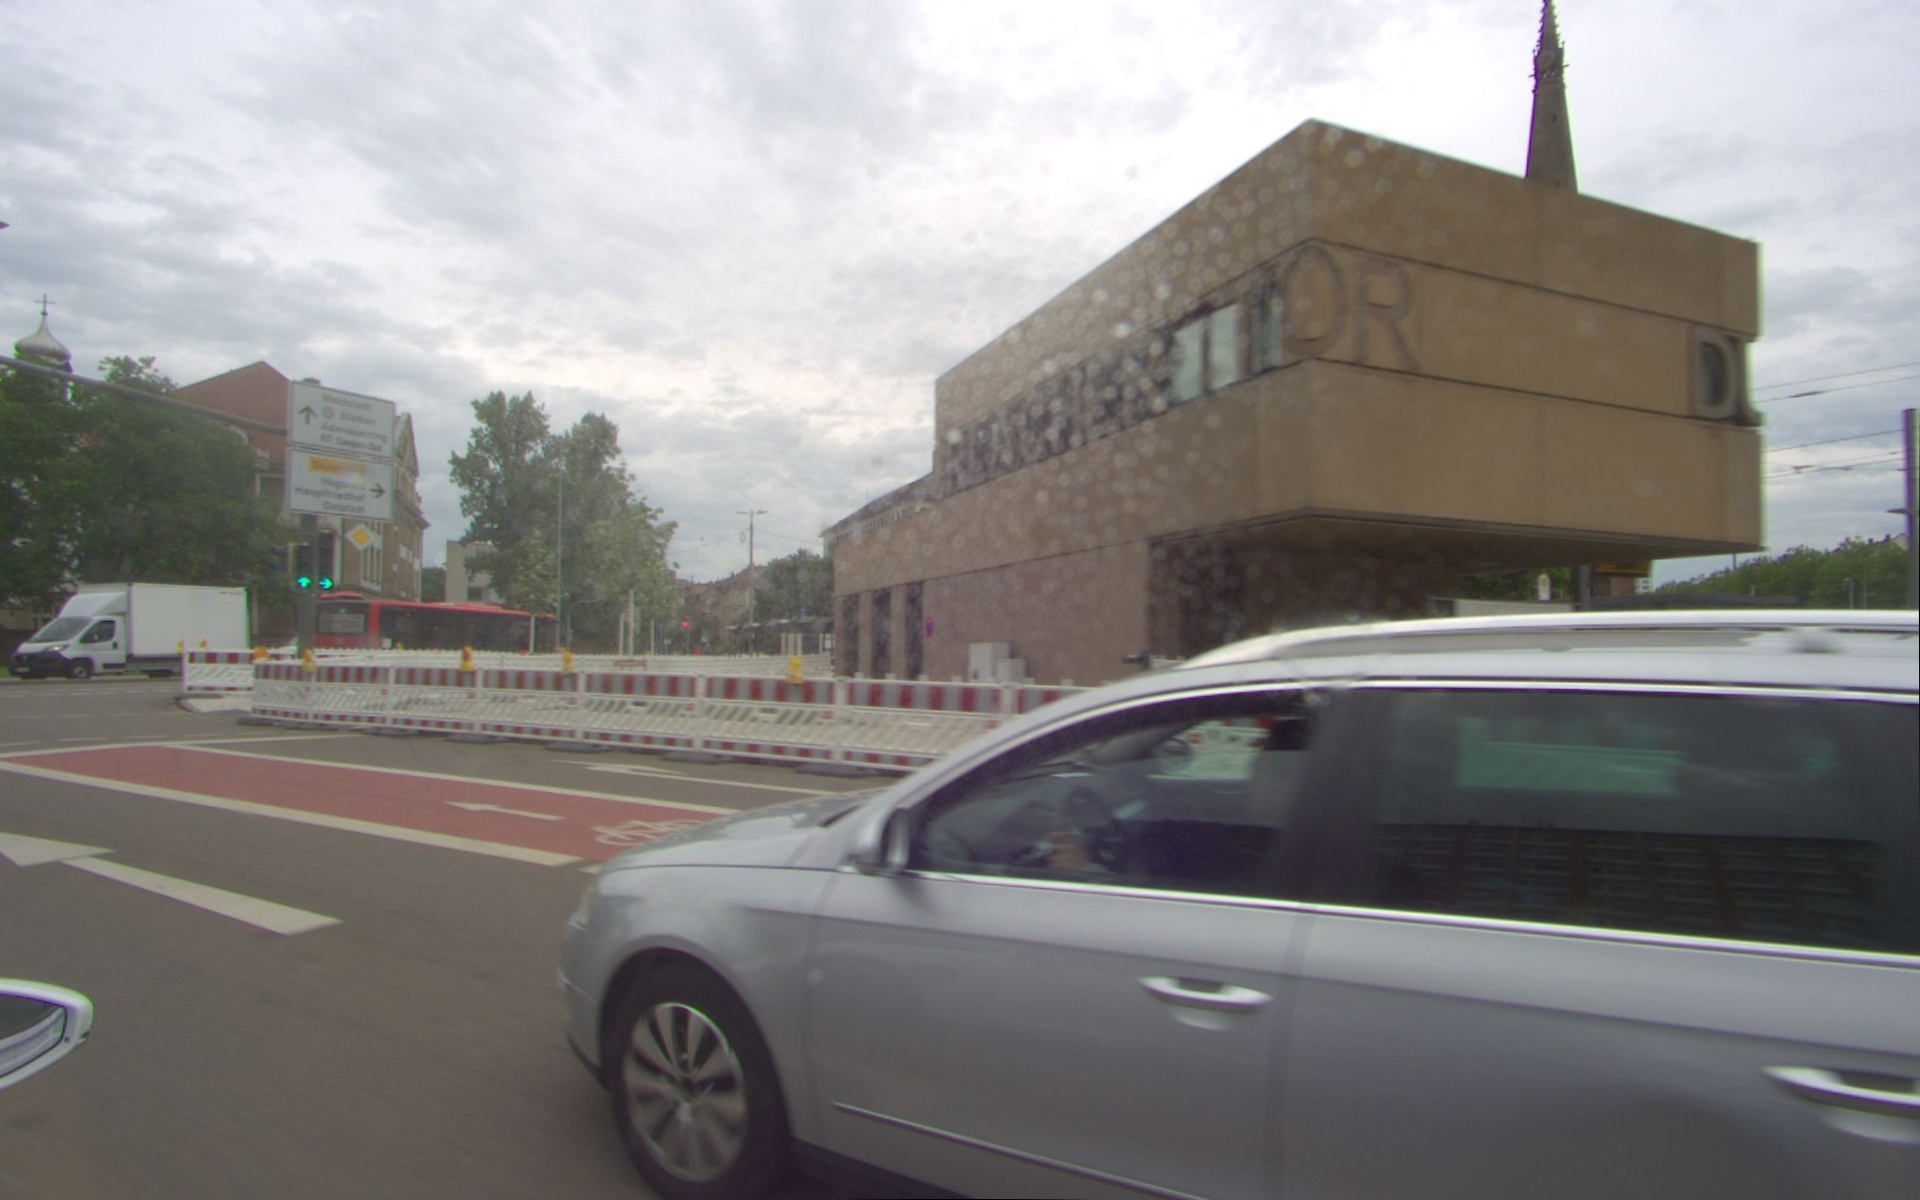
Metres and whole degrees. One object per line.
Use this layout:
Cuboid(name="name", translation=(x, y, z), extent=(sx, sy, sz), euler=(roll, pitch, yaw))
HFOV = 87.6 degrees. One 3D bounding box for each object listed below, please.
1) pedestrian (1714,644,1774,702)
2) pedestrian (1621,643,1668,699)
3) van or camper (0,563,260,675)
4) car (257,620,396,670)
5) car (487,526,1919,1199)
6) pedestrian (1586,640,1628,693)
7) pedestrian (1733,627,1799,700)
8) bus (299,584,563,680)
Cuboid(name="pedestrian", translation=(23.185, 2.142, 29.634), extent=(0.990, 1.665, 1.019), euler=(1, -2, -17))
Cuboid(name="pedestrian", translation=(21.003, 2.164, 30.738), extent=(0.771, 1.665, 0.918), euler=(1, -2, -17))
Cuboid(name="van or camper", translation=(-28.214, 0.758, 34.083), extent=(2.823, 3.373, 7.151), euler=(-1, -3, 12))
Cuboid(name="car", translation=(-26.401, 1.901, 41.965), extent=(1.963, 1.887, 5.004), euler=(-3, -3, 13))
Cuboid(name="car", translation=(1.006, 0.692, 2.407), extent=(4.562, 1.501, 1.717), euler=(-1, -2, 32))
Cuboid(name="pedestrian", translation=(20.722, 2.120, 32.072), extent=(0.780, 1.665, 0.800), euler=(1, -2, -17))
Cuboid(name="pedestrian", translation=(20.621, 1.616, 25.623), extent=(0.812, 1.831, 1.019), euler=(1, -2, -17))
Cuboid(name="bus", translation=(-20.994, 1.441, 41.233), extent=(3.009, 3.338, 12.386), euler=(0, -3, 7))
